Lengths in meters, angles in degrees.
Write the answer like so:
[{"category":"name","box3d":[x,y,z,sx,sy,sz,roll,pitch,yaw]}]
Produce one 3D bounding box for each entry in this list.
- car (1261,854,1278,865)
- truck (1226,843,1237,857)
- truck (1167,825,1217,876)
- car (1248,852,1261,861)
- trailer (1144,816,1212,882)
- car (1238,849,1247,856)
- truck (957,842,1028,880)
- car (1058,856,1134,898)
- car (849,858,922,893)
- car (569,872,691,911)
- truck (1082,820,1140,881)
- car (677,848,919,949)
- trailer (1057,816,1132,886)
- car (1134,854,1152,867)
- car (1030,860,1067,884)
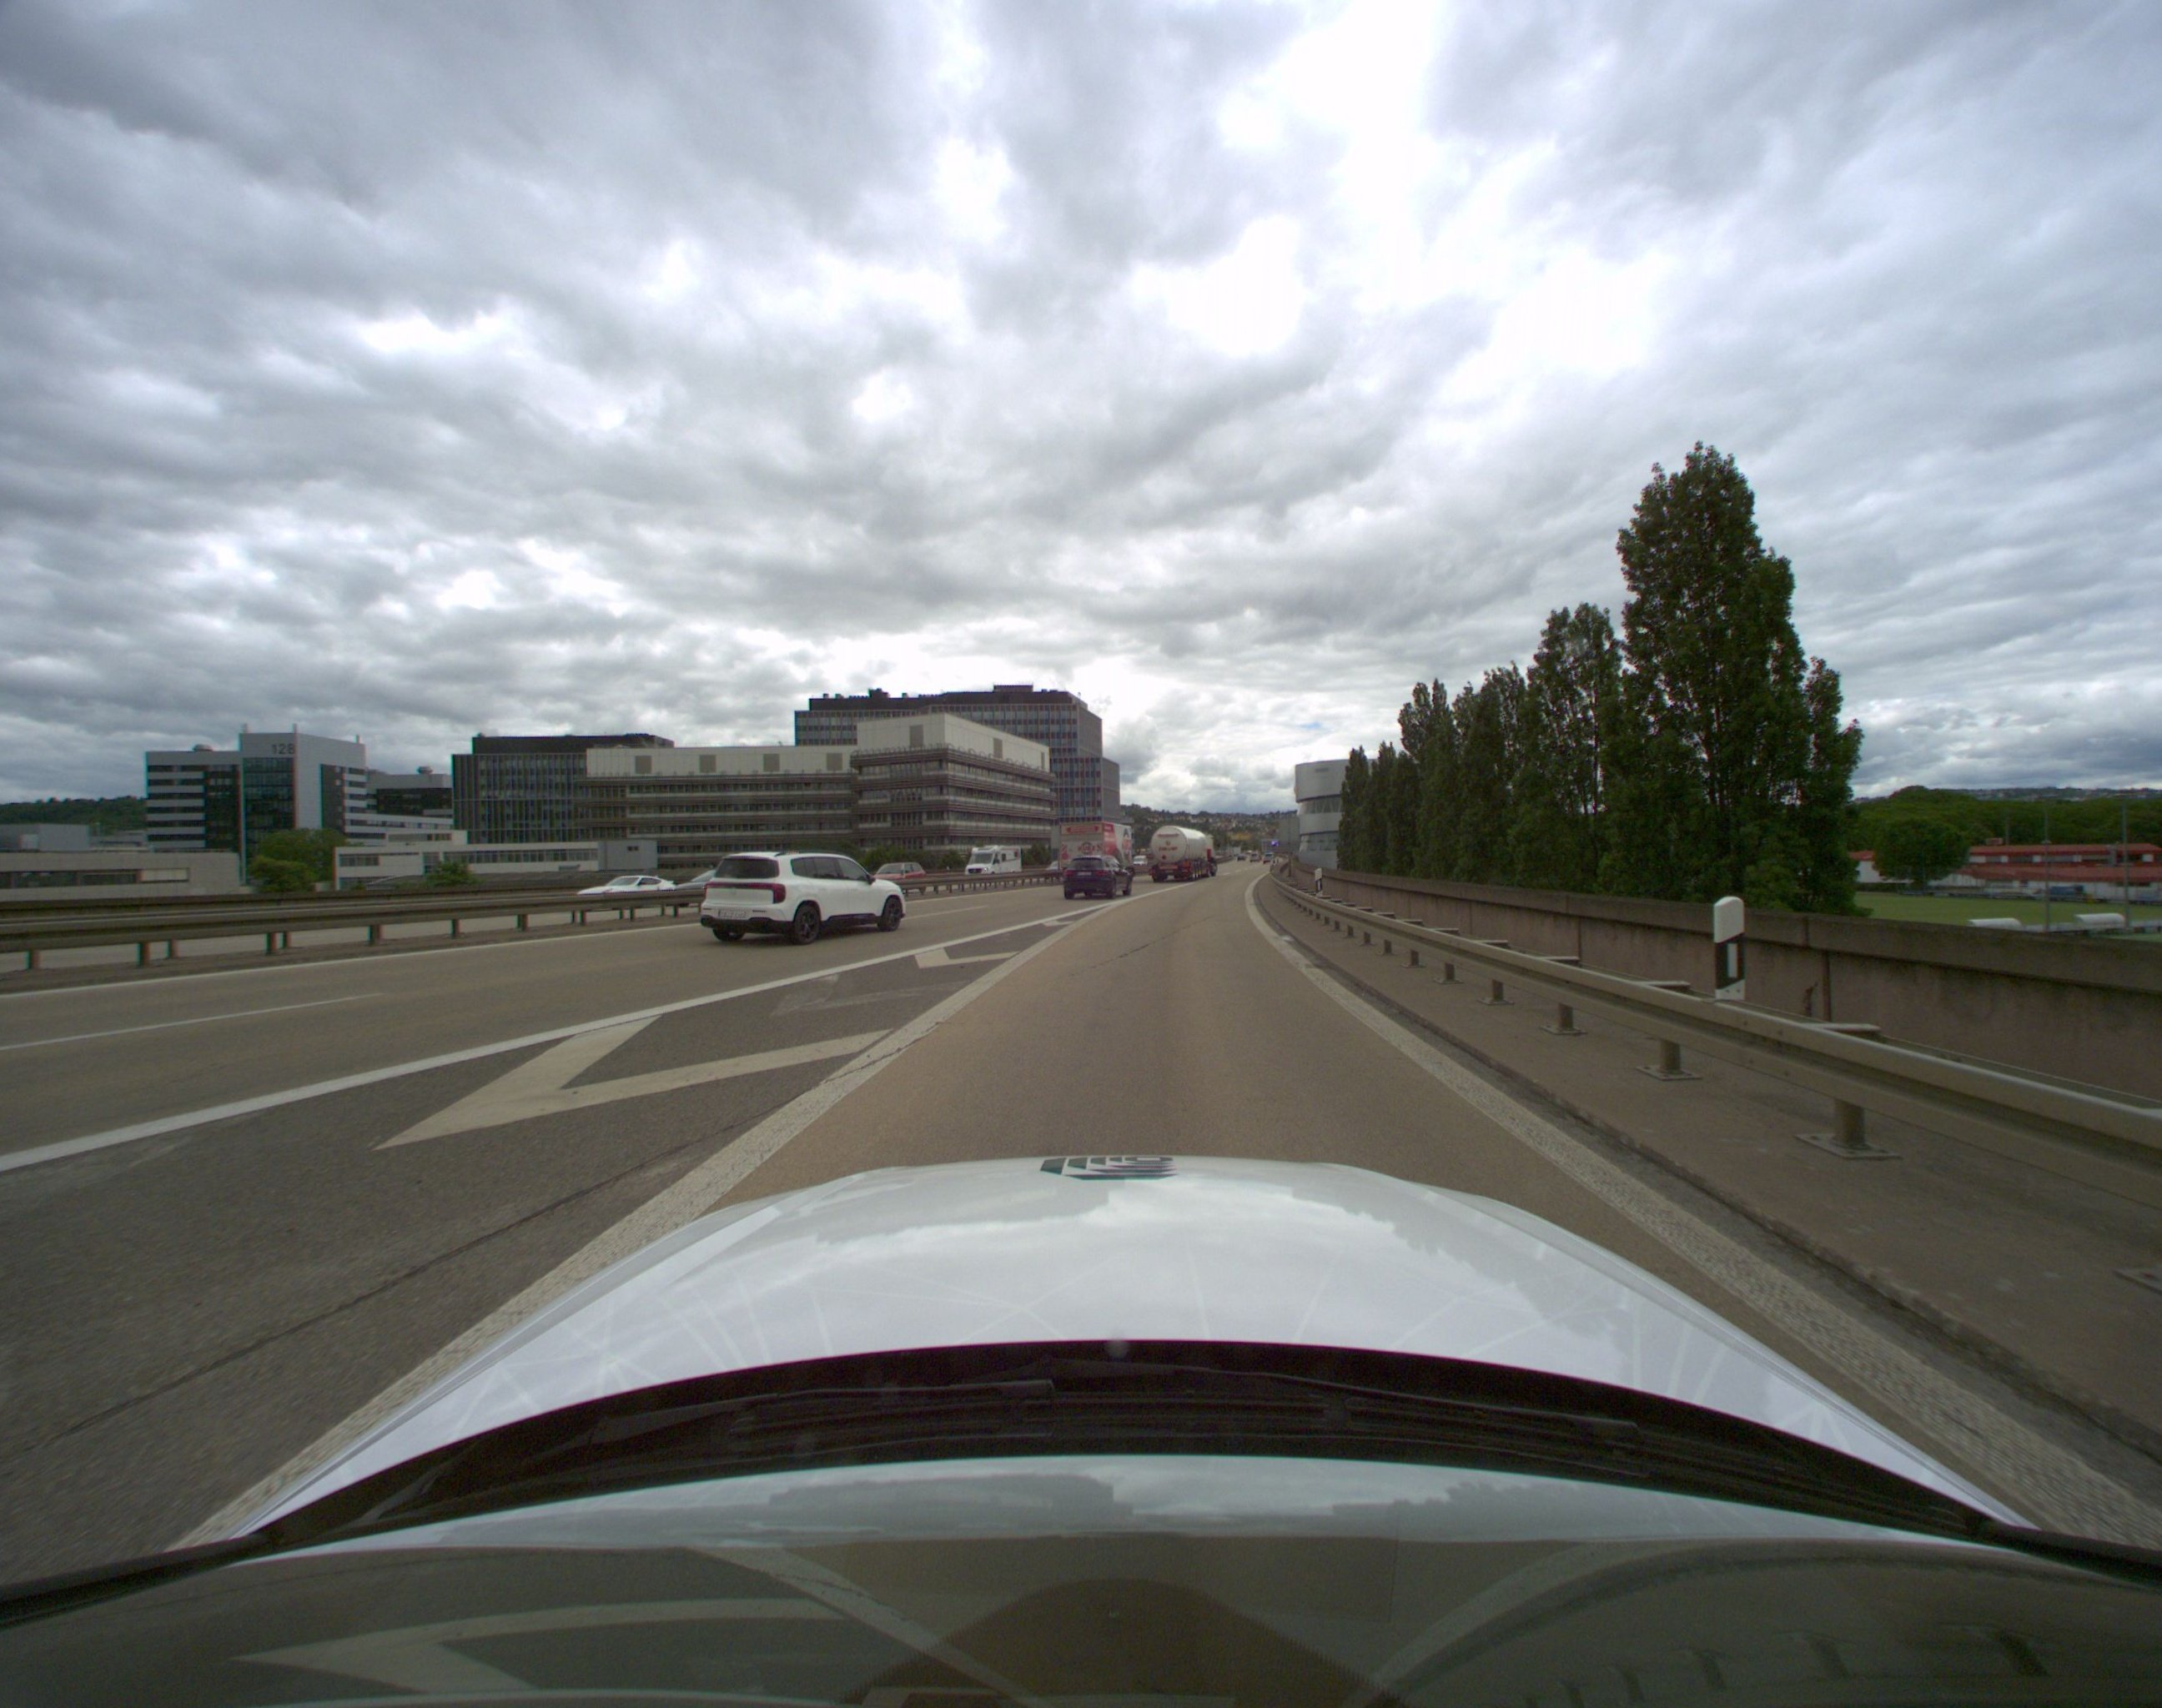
[{"category":"car","box3d":[30.208,0.826,130.441,1.977,1.538,4.021,4,1,22]},{"category":"truck","box3d":[42.224,-1.194,228.567,2.377,3.893,5.967,-3,0,15]},{"category":"truck","box3d":[8.200,-0.256,59.518,2.749,3.430,5.988,-3,0,14]},{"category":"car","box3d":[33.414,0.540,156.908,1.978,1.538,4.017,3,0,16]},{"category":"trailer","box3d":[6.601,-0.328,53.551,2.771,3.737,11.199,-3,0,15]},{"category":"car","box3d":[36.802,-0.264,185.499,1.980,1.538,4.012,-1,-1,11]},{"category":"truck","box3d":[-6.539,0.476,61.580,2.471,2.626,7.381,-3,0,17]},{"category":"car","box3d":[0.670,0.846,31.374,1.832,1.505,4.283,0,0,16]},{"category":"car","box3d":[-9.247,1.000,38.722,1.681,1.551,3.658,-3,-1,17]},{"category":"car","box3d":[-17.983,1.466,32.714,1.629,1.235,4.300,-3,0,17]},{"category":"truck","box3d":[1.993,-0.222,52.494,2.671,3.690,4.457,-3,0,15]},{"category":"car","box3d":[-5.333,0.748,16.217,1.978,1.668,4.914,1,0,17]},{"category":"trailer","box3d":[0.952,-0.188,48.456,2.671,3.690,7.341,-3,0,14]},{"category":"car","box3d":[8.956,0.945,117.545,1.854,1.711,4.619,-3,0,14]},{"category":"car","box3d":[-2.437,1.354,62.124,1.632,1.585,3.734,-3,0,15]}]
